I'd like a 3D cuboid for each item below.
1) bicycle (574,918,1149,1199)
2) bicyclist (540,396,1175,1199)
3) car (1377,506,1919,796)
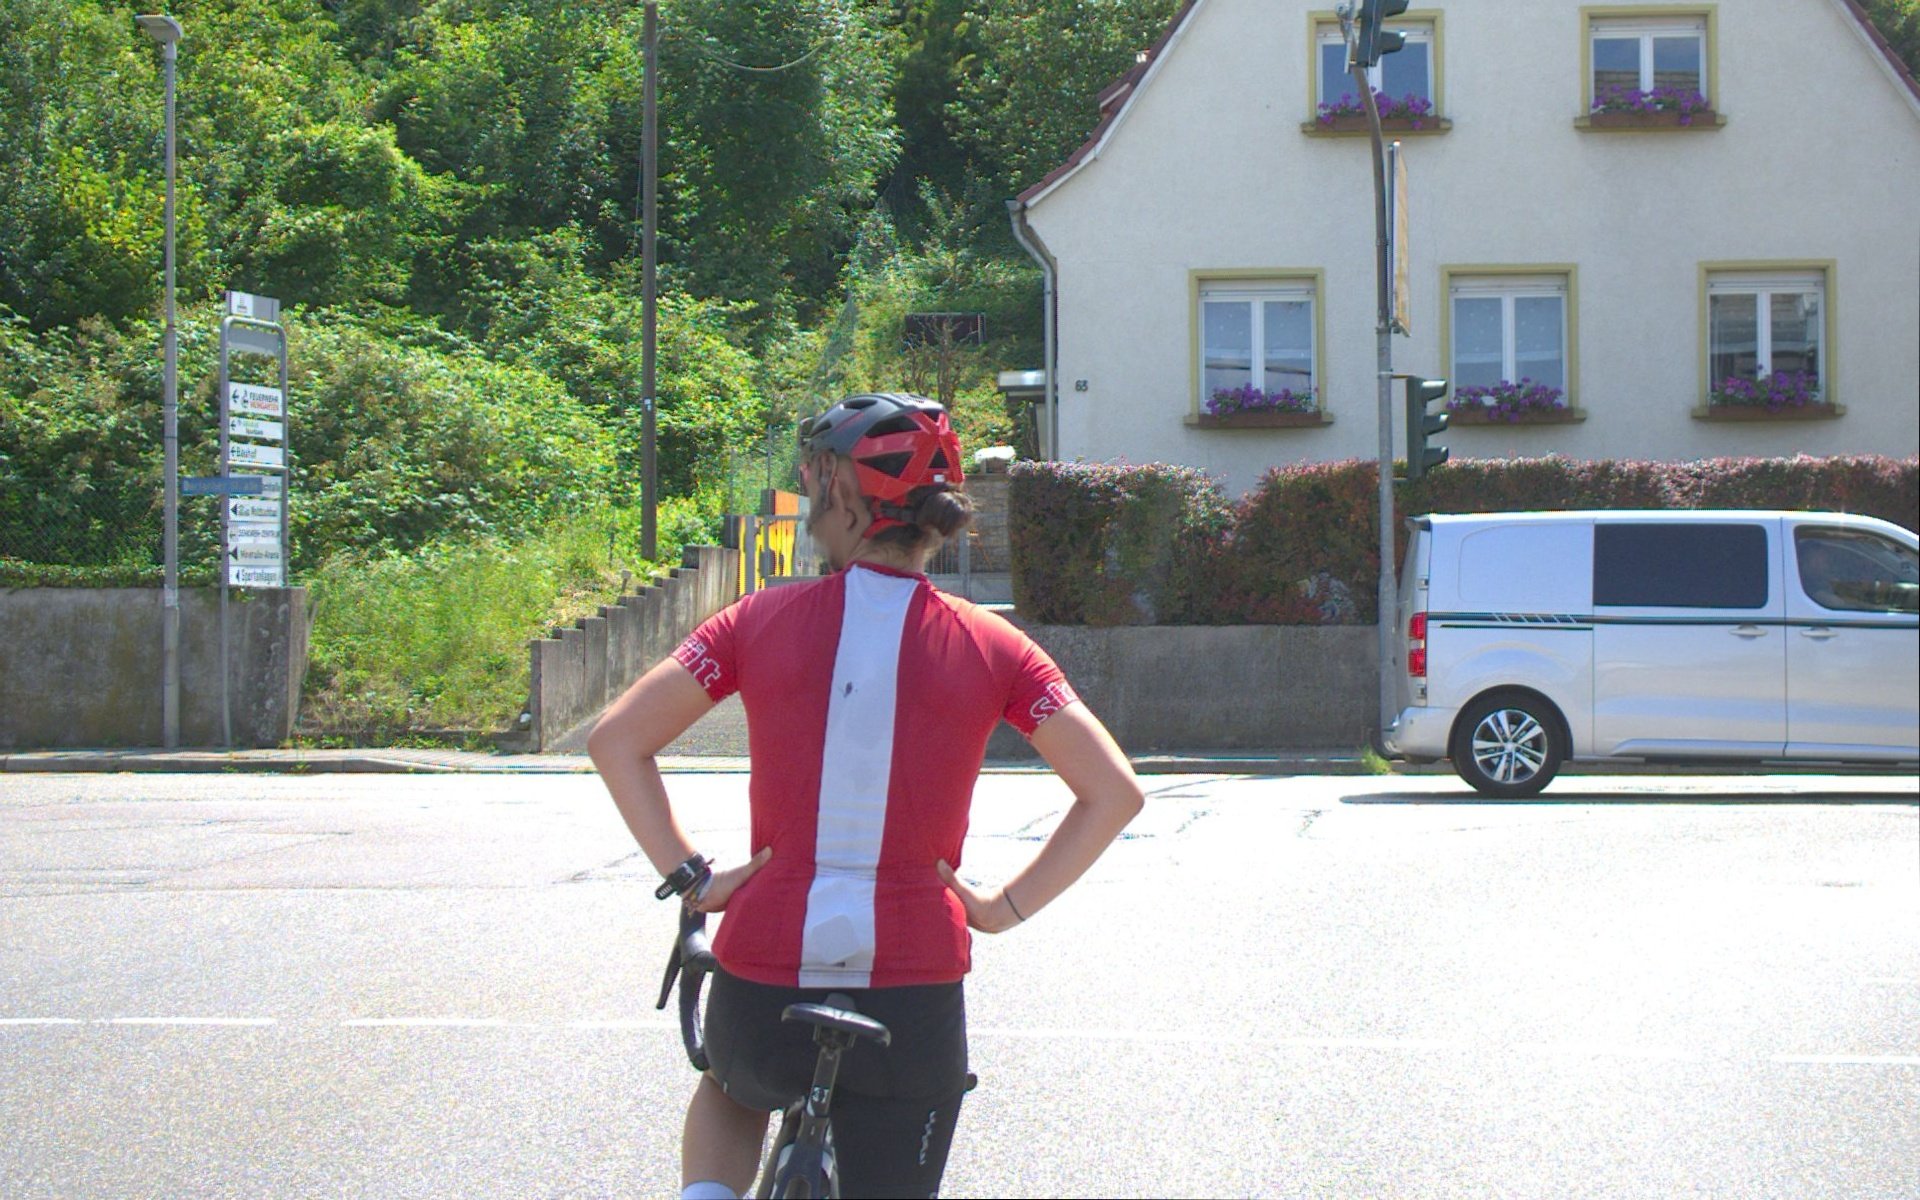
[{"bbox_3d":[-0.175,0.968,4.604,0.629,0.902,1.657,1,1,-4],"label":"bicycle"},{"bbox_3d":[-0.162,0.581,4.654,0.760,1.659,0.869,1,1,-4],"label":"bicyclist"},{"bbox_3d":[5.214,0.342,22.692,4.874,1.816,1.999,0,-1,7],"label":"car"}]
